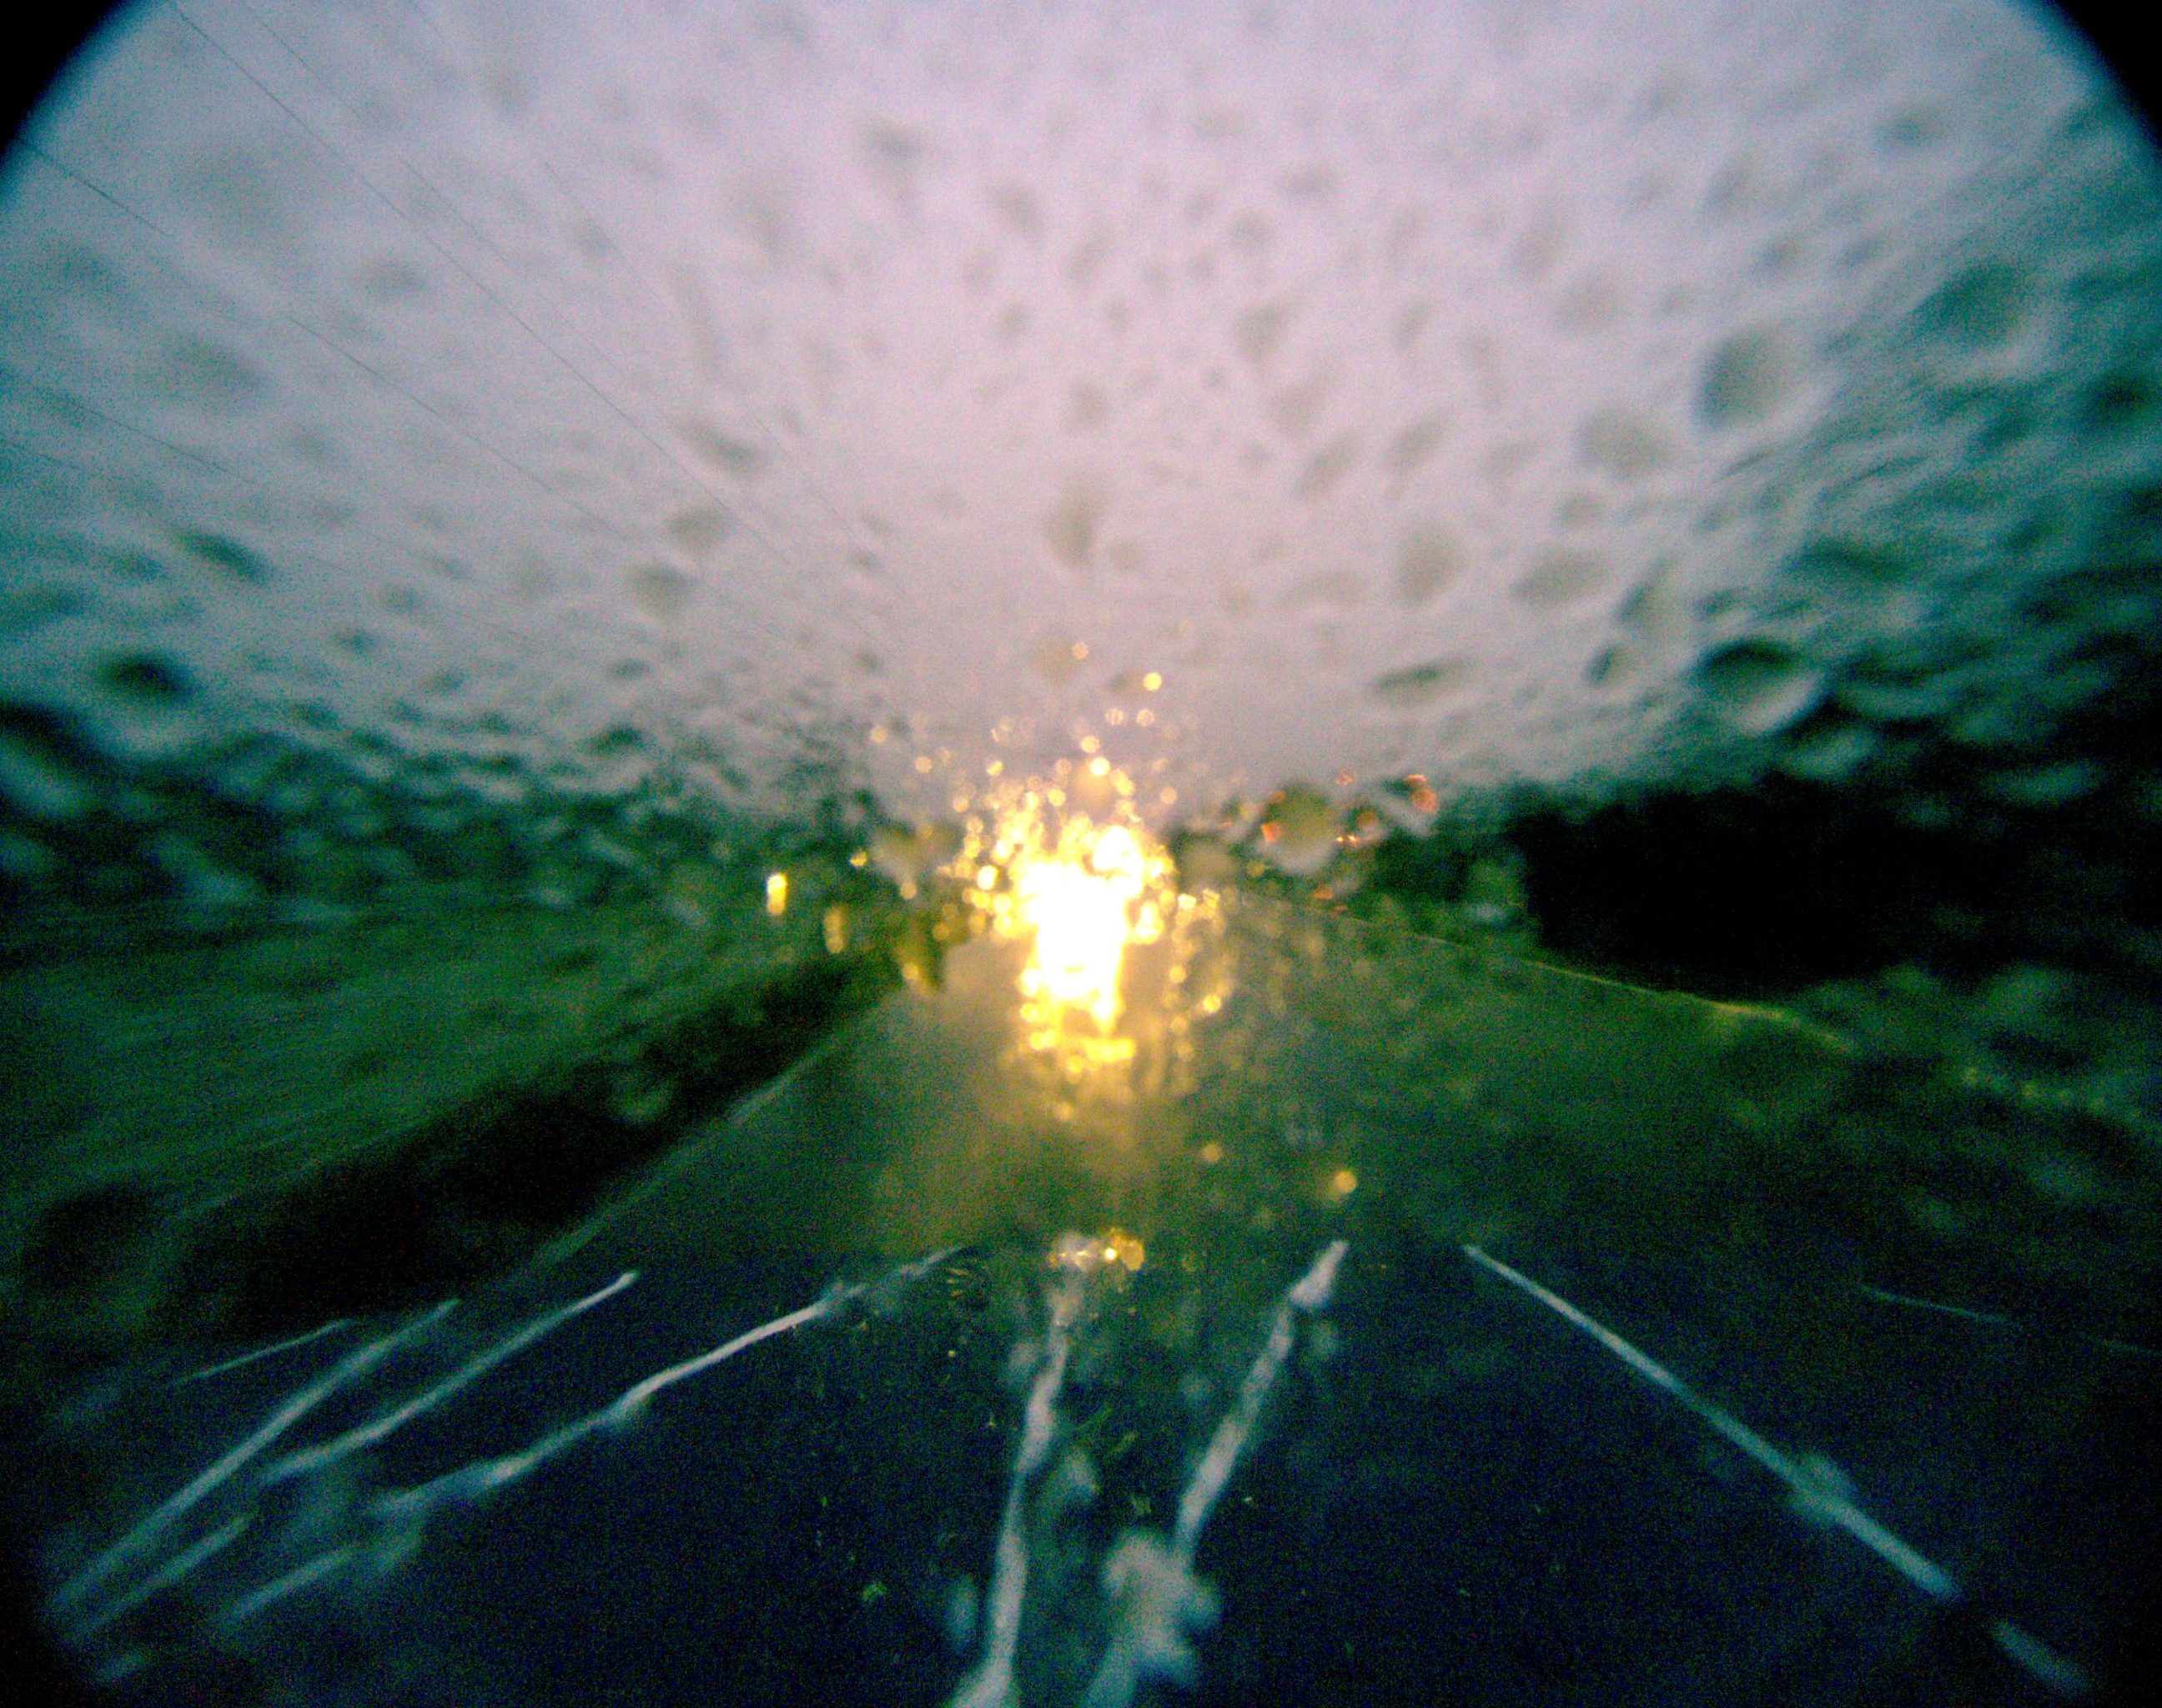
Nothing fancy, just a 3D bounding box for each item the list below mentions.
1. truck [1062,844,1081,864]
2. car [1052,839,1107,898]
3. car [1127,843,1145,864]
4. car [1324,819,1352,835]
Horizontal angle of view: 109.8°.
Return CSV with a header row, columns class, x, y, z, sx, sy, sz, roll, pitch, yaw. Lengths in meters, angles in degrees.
class,x,y,z,sx,sy,sz,roll,pitch,yaw
truck,-1.512,-0.045,123.669,2.540,2.961,7.858,-2,1,3
car,-0.021,0.497,28.883,1.857,2.002,4.000,-2,1,1
car,7.336,-0.131,102.143,1.958,2.659,6.271,-2,0,1
car,29.019,-3.055,85.907,1.726,1.702,4.110,-2,1,1
